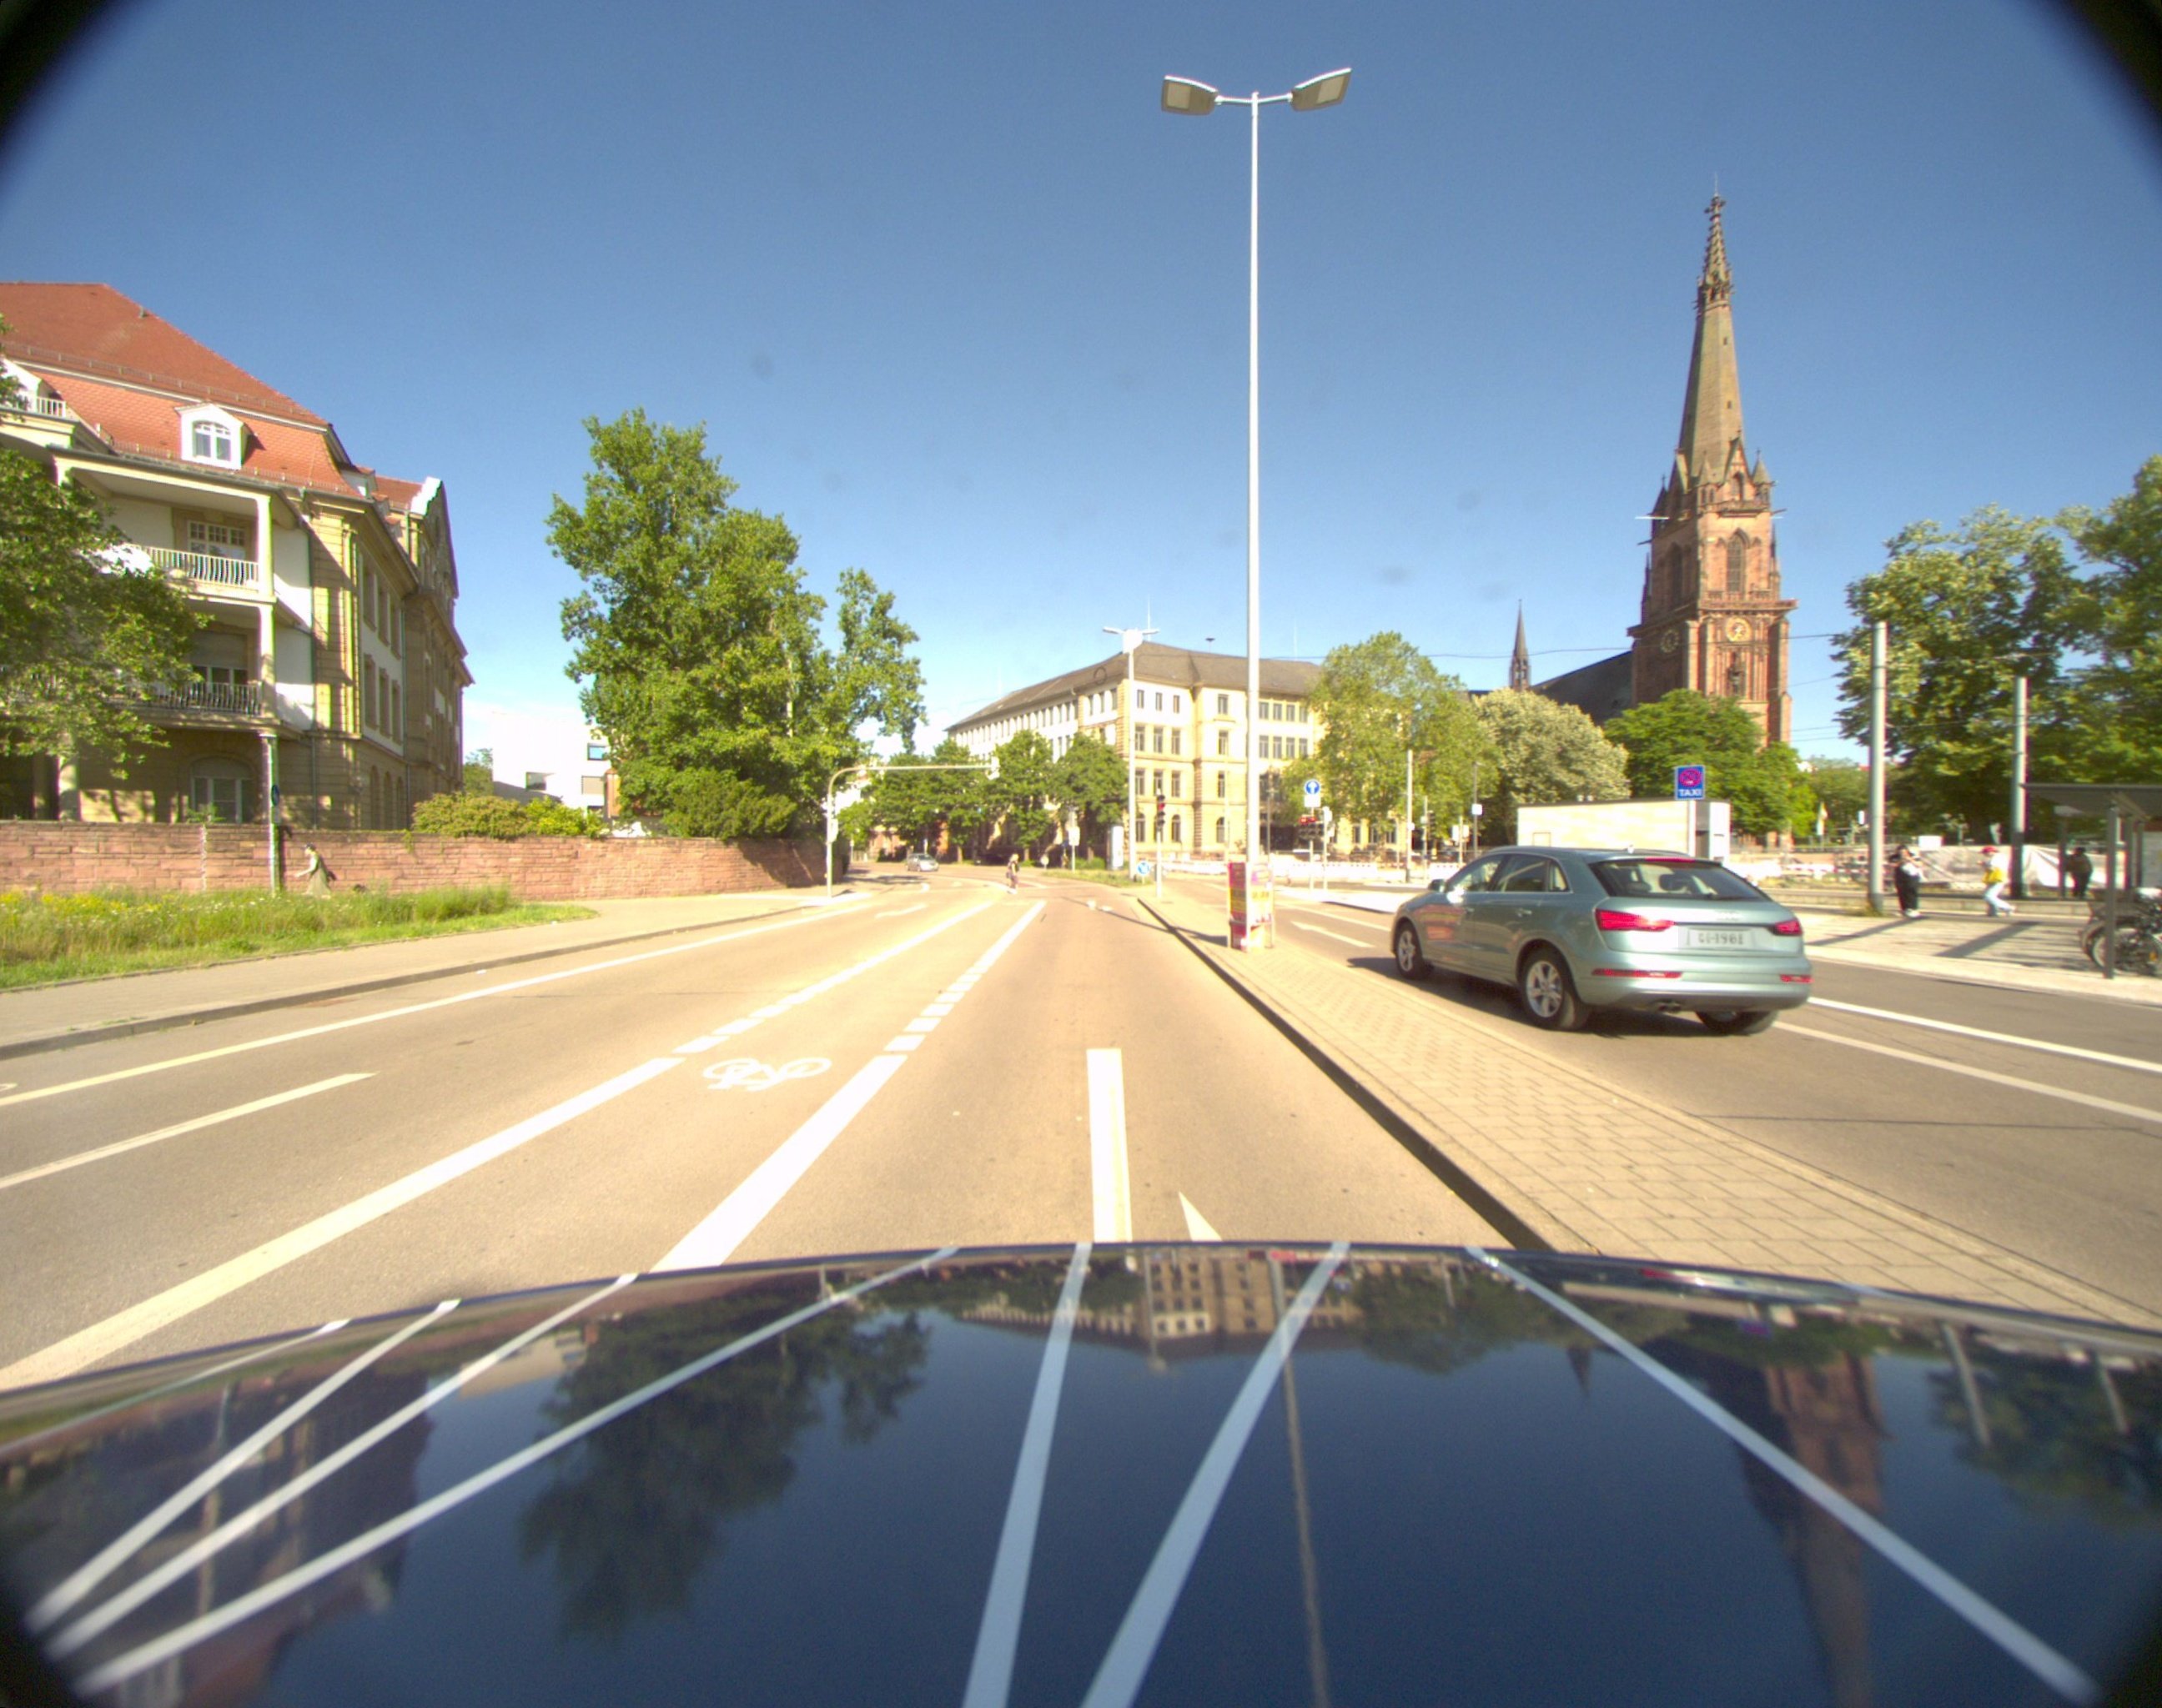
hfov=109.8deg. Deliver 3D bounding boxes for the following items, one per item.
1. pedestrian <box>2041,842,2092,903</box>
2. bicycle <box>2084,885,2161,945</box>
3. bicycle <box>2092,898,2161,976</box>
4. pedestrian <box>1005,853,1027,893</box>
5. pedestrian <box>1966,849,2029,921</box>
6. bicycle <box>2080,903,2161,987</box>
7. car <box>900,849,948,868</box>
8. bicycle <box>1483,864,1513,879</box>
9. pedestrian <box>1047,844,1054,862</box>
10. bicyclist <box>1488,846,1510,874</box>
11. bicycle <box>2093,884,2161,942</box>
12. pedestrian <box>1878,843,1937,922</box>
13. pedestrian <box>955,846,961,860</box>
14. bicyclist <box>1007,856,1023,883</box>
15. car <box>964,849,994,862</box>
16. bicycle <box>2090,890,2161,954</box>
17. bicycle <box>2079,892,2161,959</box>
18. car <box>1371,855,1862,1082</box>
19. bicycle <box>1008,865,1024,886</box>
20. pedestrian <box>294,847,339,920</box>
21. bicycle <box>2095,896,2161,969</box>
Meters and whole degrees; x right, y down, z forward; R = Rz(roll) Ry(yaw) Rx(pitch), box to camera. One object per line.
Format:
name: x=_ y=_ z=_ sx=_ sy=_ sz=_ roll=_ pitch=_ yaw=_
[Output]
pedestrian: x=30.472 y=0.557 z=23.499 sx=0.619 sy=1.849 sz=0.703 roll=0 pitch=1 yaw=11
bicycle: x=19.031 y=1.086 z=13.339 sx=0.407 sy=0.993 sz=1.679 roll=-3 pitch=2 yaw=-33
bicycle: x=15.033 y=1.168 z=10.210 sx=0.407 sy=0.993 sz=1.678 roll=-3 pitch=3 yaw=-33
pedestrian: x=-2.786 y=0.810 z=32.738 sx=0.932 sy=1.657 sz=0.630 roll=0 pitch=1 yaw=-5
pedestrian: x=20.976 y=0.691 z=17.397 sx=0.621 sy=1.613 sz=0.701 roll=-1 pitch=1 yaw=-16
bicycle: x=13.988 y=1.190 z=9.553 sx=0.407 sy=0.993 sz=1.678 roll=-3 pitch=3 yaw=-33
car: x=-14.154 y=0.436 z=68.447 sx=2.004 sy=1.580 sz=4.838 roll=-3 pitch=1 yaw=-42
bicycle: x=23.079 y=0.941 z=42.052 sx=2.056 sy=0.777 sz=0.739 roll=-1 pitch=1 yaw=-39
pedestrian: x=-3.432 y=-0.089 z=85.801 sx=0.557 sy=2.002 sz=0.645 roll=-1 pitch=1 yaw=-37
bicyclist: x=23.153 y=0.330 z=42.083 sx=0.887 sy=1.562 sz=0.739 roll=-1 pitch=1 yaw=-38
bicycle: x=19.517 y=1.066 z=13.581 sx=0.407 sy=0.993 sz=1.679 roll=-3 pitch=2 yaw=-33
pedestrian: x=19.638 y=0.657 z=18.070 sx=0.701 sy=1.849 sz=0.621 roll=0 pitch=1 yaw=9
pedestrian: x=-16.662 y=-0.165 z=103.037 sx=0.578 sy=1.893 sz=0.781 roll=-1 pitch=1 yaw=-36
bicyclist: x=-3.438 y=0.792 z=39.690 sx=0.741 sy=1.363 sz=0.626 roll=-2 pitch=1 yaw=-6
car: x=-12.166 y=0.146 z=90.469 sx=1.839 sy=1.587 sz=3.989 roll=-1 pitch=1 yaw=-37
bicycle: x=17.968 y=1.139 z=12.461 sx=0.407 sy=0.993 sz=1.679 roll=-3 pitch=2 yaw=-33
bicycle: x=17.188 y=1.143 z=12.014 sx=0.407 sy=0.993 sz=1.679 roll=-3 pitch=2 yaw=-33
car: x=4.658 y=0.828 z=7.582 sx=1.792 sy=1.572 sz=4.256 roll=1 pitch=0 yaw=-1
bicycle: x=-3.421 y=1.123 z=39.709 sx=0.741 sy=0.989 sz=2.305 roll=-2 pitch=1 yaw=-6
pedestrian: x=-19.833 y=0.735 z=19.722 sx=0.628 sy=1.847 sz=0.789 roll=1 pitch=1 yaw=45
bicycle: x=16.132 y=1.184 z=11.001 sx=0.407 sy=0.993 sz=1.678 roll=-3 pitch=3 yaw=-33
